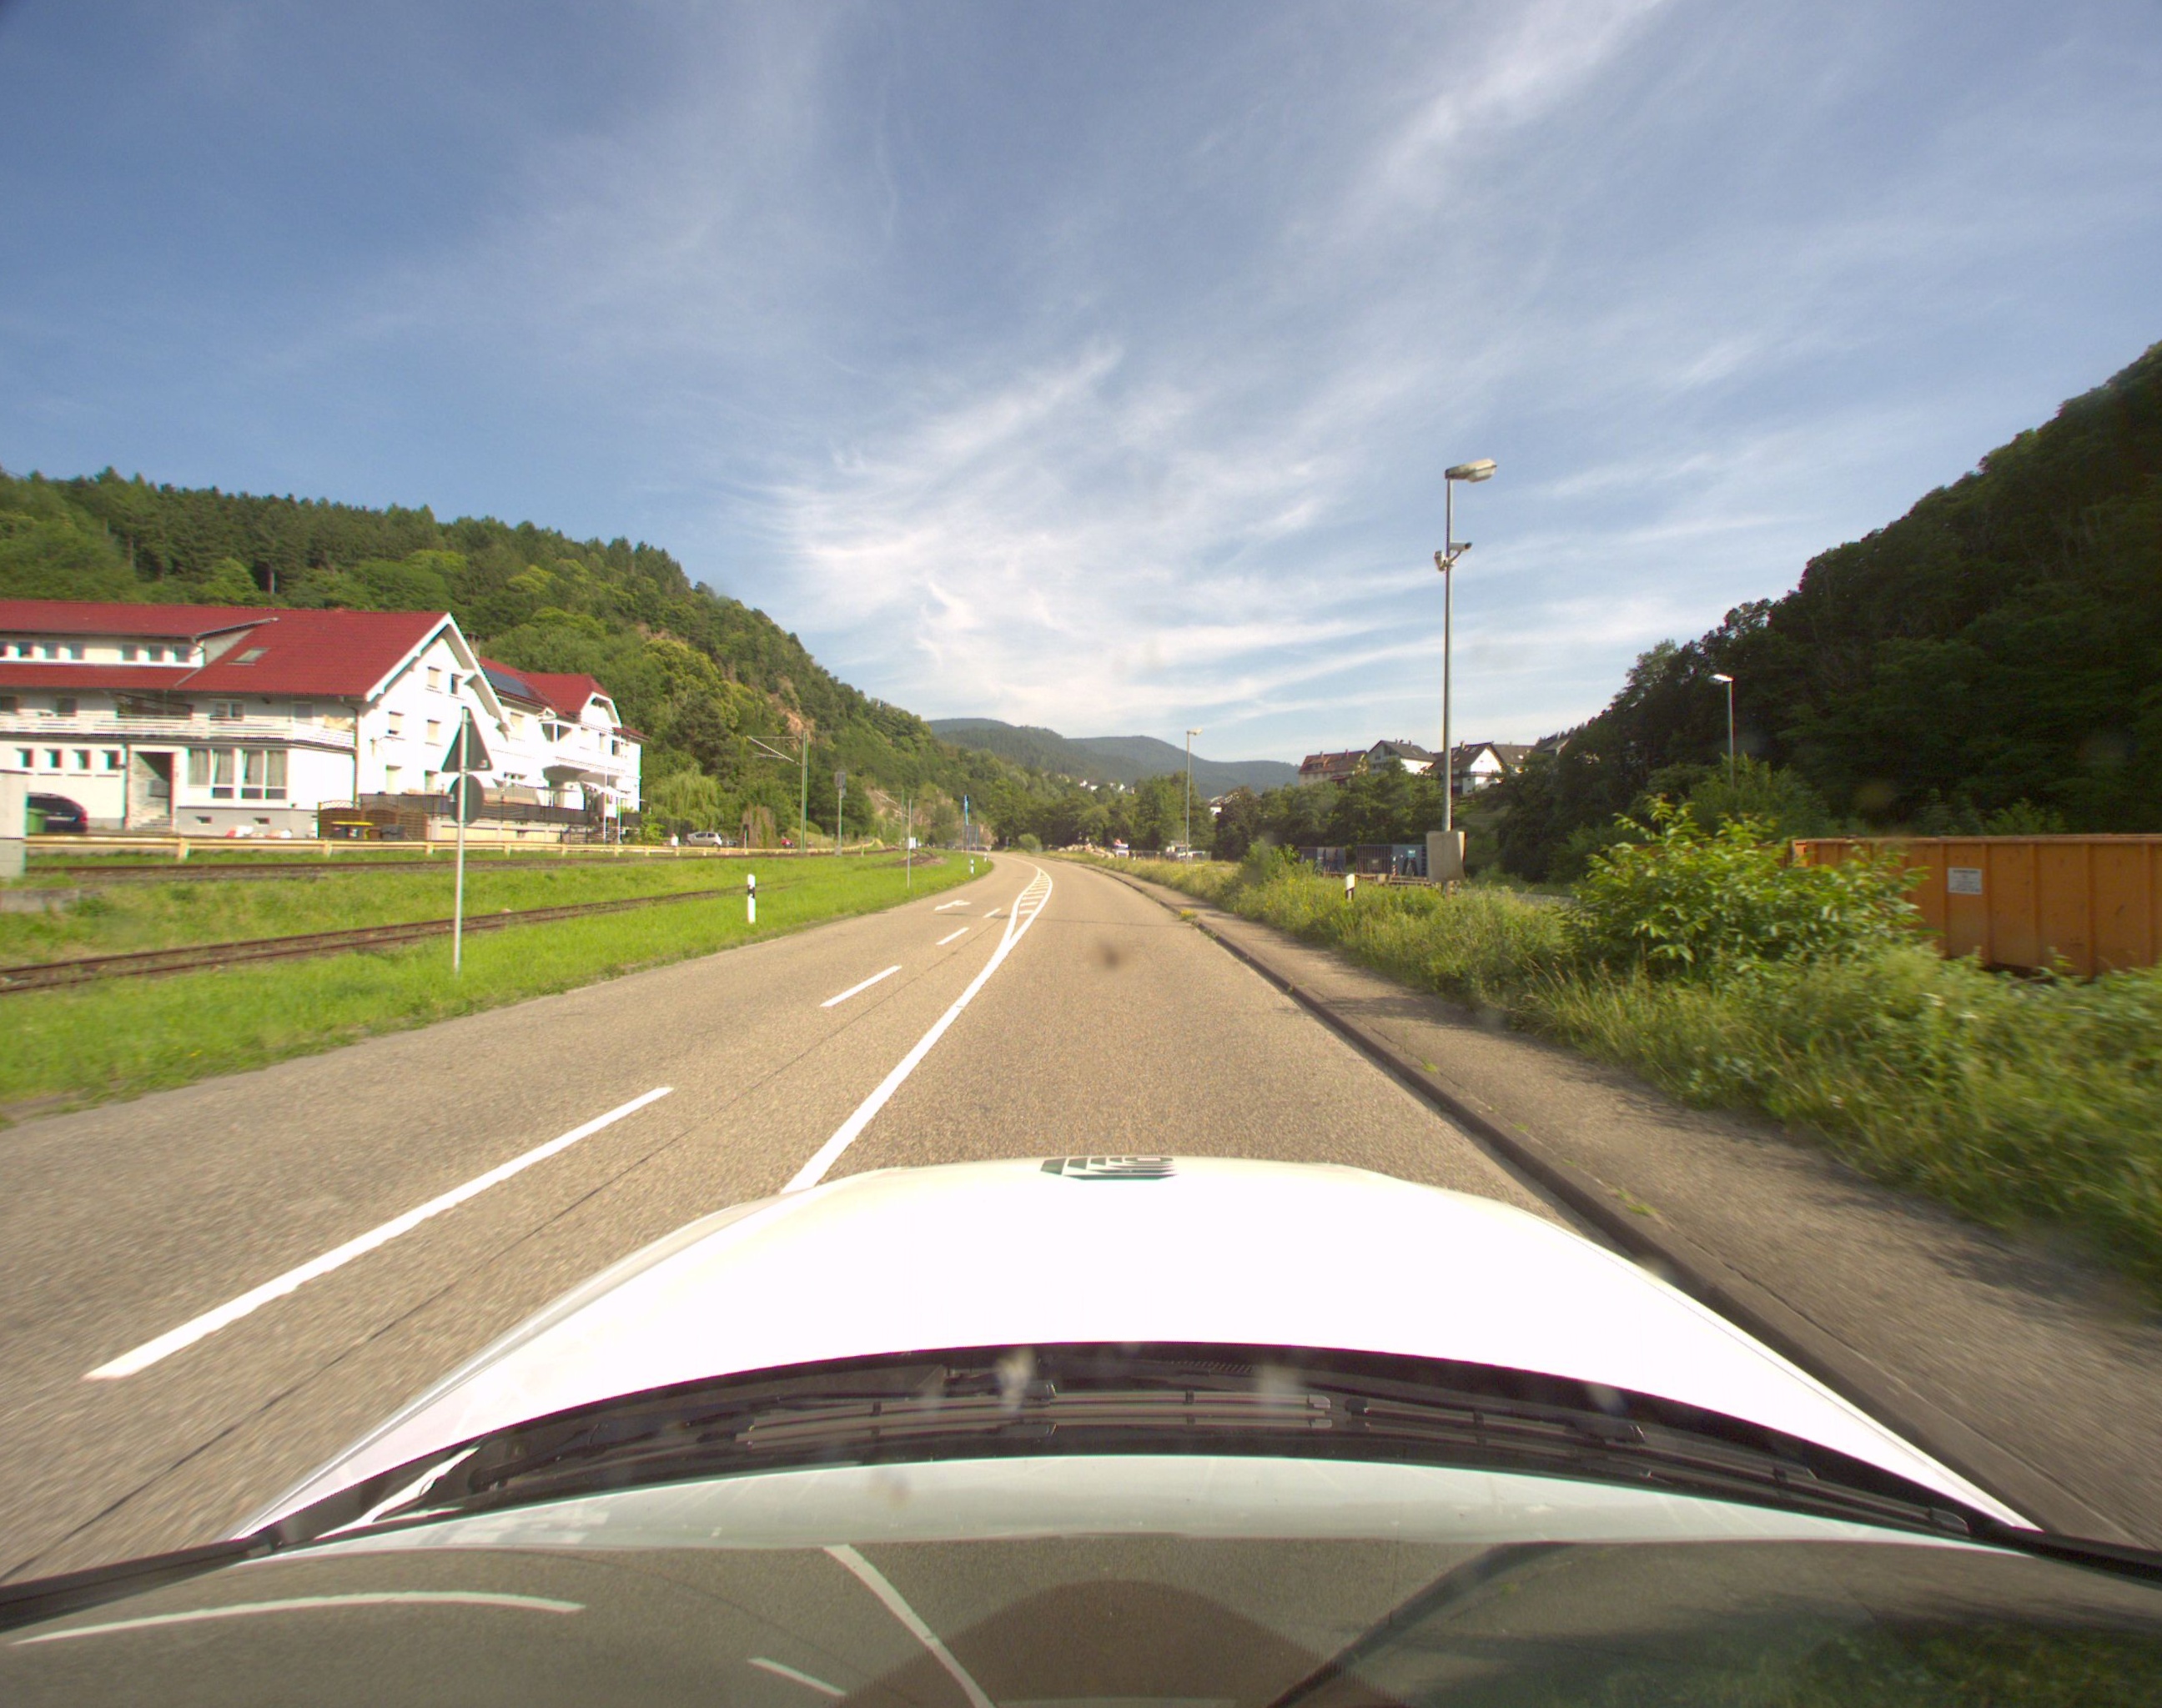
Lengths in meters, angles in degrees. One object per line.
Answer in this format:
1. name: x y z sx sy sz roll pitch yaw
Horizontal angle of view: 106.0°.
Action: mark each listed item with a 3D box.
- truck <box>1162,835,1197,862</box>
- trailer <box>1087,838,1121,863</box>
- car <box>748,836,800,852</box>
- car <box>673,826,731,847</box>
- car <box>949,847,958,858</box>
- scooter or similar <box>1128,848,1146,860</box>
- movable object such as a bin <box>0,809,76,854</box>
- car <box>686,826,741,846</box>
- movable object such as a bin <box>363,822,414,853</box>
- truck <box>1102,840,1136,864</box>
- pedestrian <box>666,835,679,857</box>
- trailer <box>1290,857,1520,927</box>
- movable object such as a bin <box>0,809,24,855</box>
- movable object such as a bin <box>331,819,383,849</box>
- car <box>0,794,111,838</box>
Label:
1. truck: 14.718 -0.874 122.539 3.100 3.782 8.624 2 0 -7
2. trailer: 4.049 -0.666 148.265 3.371 4.274 9.856 2 0 -16
3. car: -34.813 -1.103 92.454 4.949 1.691 2.455 1 0 -1
4. car: -33.734 -1.530 72.539 4.135 1.691 1.998 1 0 -3
5. car: -31.544 -0.289 201.092 2.127 2.615 5.461 -1 1 -10
6. scooter or similar: 9.541 -0.035 138.888 1.995 2.013 3.983 0 1 -13
7. movable object such as a bin: -28.543 -0.598 22.092 1.139 1.192 1.090 1 0 -8
8. car: -33.794 -1.630 74.936 4.135 1.691 1.998 1 0 -3
9. movable object such as a bin: -28.551 -0.670 33.604 1.087 1.192 1.142 1 0 -2
10. truck: 6.403 -0.382 139.364 3.109 3.782 8.598 2 0 -16
11. pedestrian: -30.806 -0.618 61.393 0.605 1.616 0.676 1 0 -5
12. trailer: 9.012 0.934 24.408 2.784 1.474 9.883 3 0 -1
13. movable object such as a bin: -28.405 -0.586 20.870 1.139 1.192 1.090 1 0 -8
14. movable object such as a bin: -29.707 -0.798 33.450 1.087 1.192 1.142 1 0 -2
15. car: -33.526 -1.204 25.508 4.082 1.270 1.736 1 0 -1
